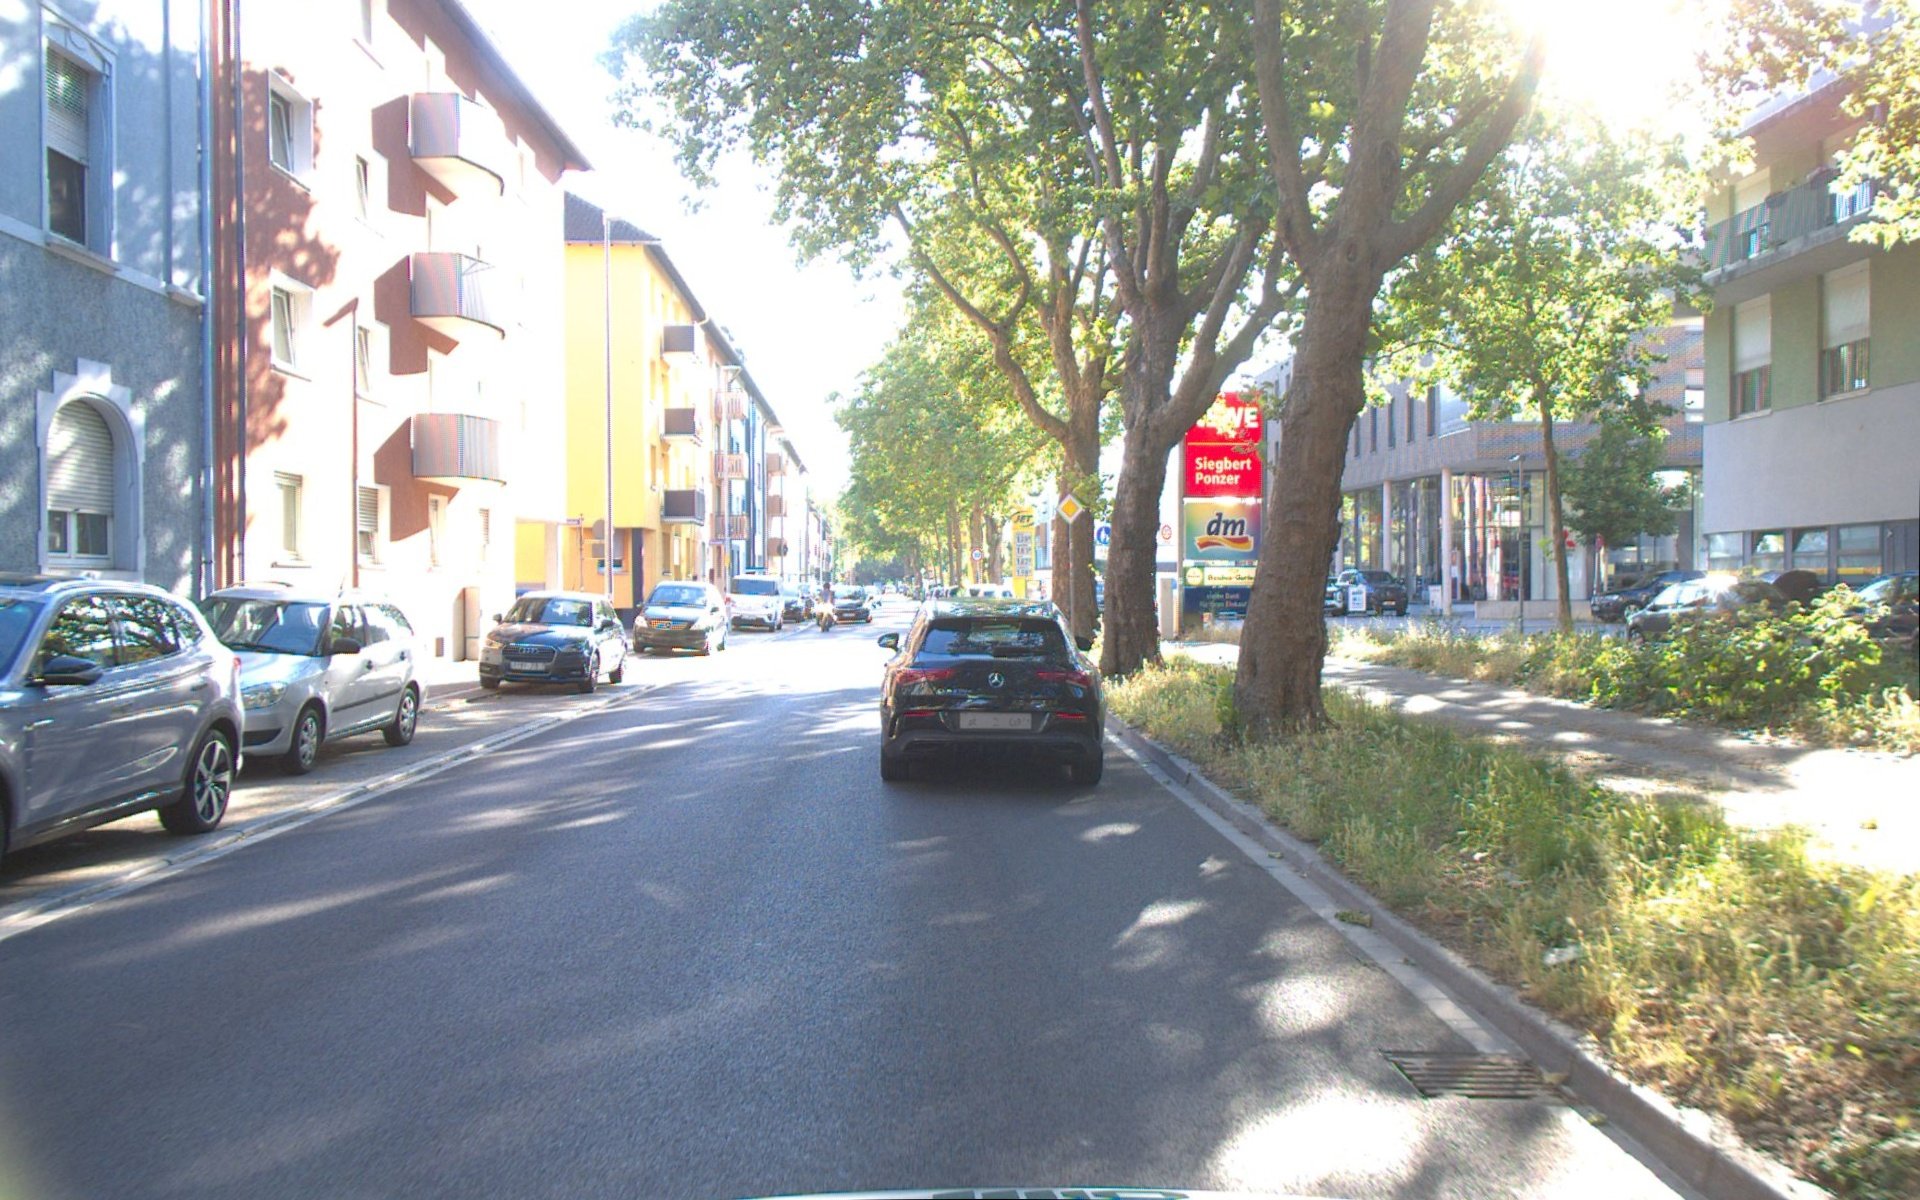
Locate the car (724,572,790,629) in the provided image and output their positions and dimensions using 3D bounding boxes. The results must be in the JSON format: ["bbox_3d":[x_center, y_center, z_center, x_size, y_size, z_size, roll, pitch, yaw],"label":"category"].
[{"bbox_3d":[-7.166,-0.016,58.750,1.699,1.940,5.208,0,1,0],"label":"car"}]

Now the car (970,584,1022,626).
[{"bbox_3d":[1.331,0.188,62.801,1.602,1.493,4.018,-2,0,-3],"label":"car"}]

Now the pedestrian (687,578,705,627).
[{"bbox_3d":[-10.093,0.088,63.183,0.575,1.821,0.642,-1,0,-1],"label":"pedestrian"}]

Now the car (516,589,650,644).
[{"bbox_3d":[-11.508,0.491,50.639,3.707,1.594,1.748,-1,0,-1],"label":"car"}]

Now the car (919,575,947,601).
[{"bbox_3d":[-2.228,-0.965,135.834,1.955,2.049,3.995,0,-1,-6],"label":"car"}]

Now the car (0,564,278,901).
[{"bbox_3d":[-5.682,0.628,9.206,1.869,1.670,4.577,1,1,0],"label":"car"}]

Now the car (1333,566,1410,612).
[{"bbox_3d":[16.352,-0.447,65.924,1.945,1.764,4.179,-1,1,-1],"label":"car"}]

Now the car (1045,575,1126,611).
[{"bbox_3d":[6.034,-0.352,79.362,3.784,1.606,1.721,-3,1,-40],"label":"car"}]

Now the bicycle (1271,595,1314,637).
[{"bbox_3d":[8.328,0.395,41.489,0.377,1.021,1.479,-1,0,-18],"label":"bicycle"}]

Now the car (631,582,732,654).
[{"bbox_3d":[-6.401,0.378,38.350,1.643,1.550,4.021,1,1,0],"label":"car"}]

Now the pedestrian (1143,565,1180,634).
[{"bbox_3d":[5.327,-0.011,43.746,0.754,1.792,0.662,-2,0,-11],"label":"pedestrian"}]

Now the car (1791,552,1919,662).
[{"bbox_3d":[14.596,0.067,25.275,1.821,1.580,3.759,-1,1,-1],"label":"car"}]

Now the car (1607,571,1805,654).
[{"bbox_3d":[14.451,0.209,32.297,1.822,1.494,4.121,-1,1,-3],"label":"car"}]

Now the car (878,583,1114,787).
[{"bbox_3d":[0.280,0.608,14.137,1.708,1.468,3.969,1,1,0],"label":"car"}]

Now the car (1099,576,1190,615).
[{"bbox_3d":[7.935,-0.202,70.991,3.777,1.572,1.642,-1,1,-36],"label":"car"}]

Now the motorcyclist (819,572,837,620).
[{"bbox_3d":[-4.585,-0.137,57.551,0.574,1.633,0.831,-1,0,-2],"label":"motorcyclist"}]

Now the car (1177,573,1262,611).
[{"bbox_3d":[11.665,-0.363,74.175,3.780,1.537,1.621,-2,1,-38],"label":"car"}]

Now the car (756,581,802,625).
[{"bbox_3d":[-7.743,0.101,71.063,1.710,1.819,4.546,1,1,-3],"label":"car"}]

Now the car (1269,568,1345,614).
[{"bbox_3d":[13.811,-0.358,66.052,1.839,1.764,4.177,-1,1,-4],"label":"car"}]

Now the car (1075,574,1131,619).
[{"bbox_3d":[5.670,-0.134,65.911,1.717,1.699,4.156,-1,0,-2],"label":"car"}]

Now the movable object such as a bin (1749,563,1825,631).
[{"bbox_3d":[18.718,-0.077,37.482,1.167,1.488,1.408,-1,0,10],"label":"movable object such as a bin"}]

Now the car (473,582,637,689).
[{"bbox_3d":[-6.159,0.491,25.539,1.643,1.512,3.601,1,1,0],"label":"car"}]

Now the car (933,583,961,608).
[{"bbox_3d":[-0.864,-0.282,110.385,1.688,1.584,3.598,1,0,-3],"label":"car"}]

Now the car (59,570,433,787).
[{"bbox_3d":[-6.211,0.593,14.912,1.643,1.670,3.984,1,1,0],"label":"car"}]

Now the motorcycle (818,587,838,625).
[{"bbox_3d":[-4.598,0.191,57.538,0.536,1.263,2.263,-3,0,-2],"label":"motorcycle"}]

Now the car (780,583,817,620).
[{"bbox_3d":[-7.665,0.047,78.830,1.565,1.669,4.409,1,1,-3],"label":"car"}]

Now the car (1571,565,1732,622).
[{"bbox_3d":[22.552,-0.240,54.021,4.395,1.691,2.029,-2,1,-5],"label":"car"}]

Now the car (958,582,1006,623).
[{"bbox_3d":[0.892,0.106,69.731,1.774,1.565,4.582,-3,0,-1],"label":"car"}]

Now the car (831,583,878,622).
[{"bbox_3d":[-4.363,0.089,68.963,1.735,1.504,4.321,-1,1,-1],"label":"car"}]
